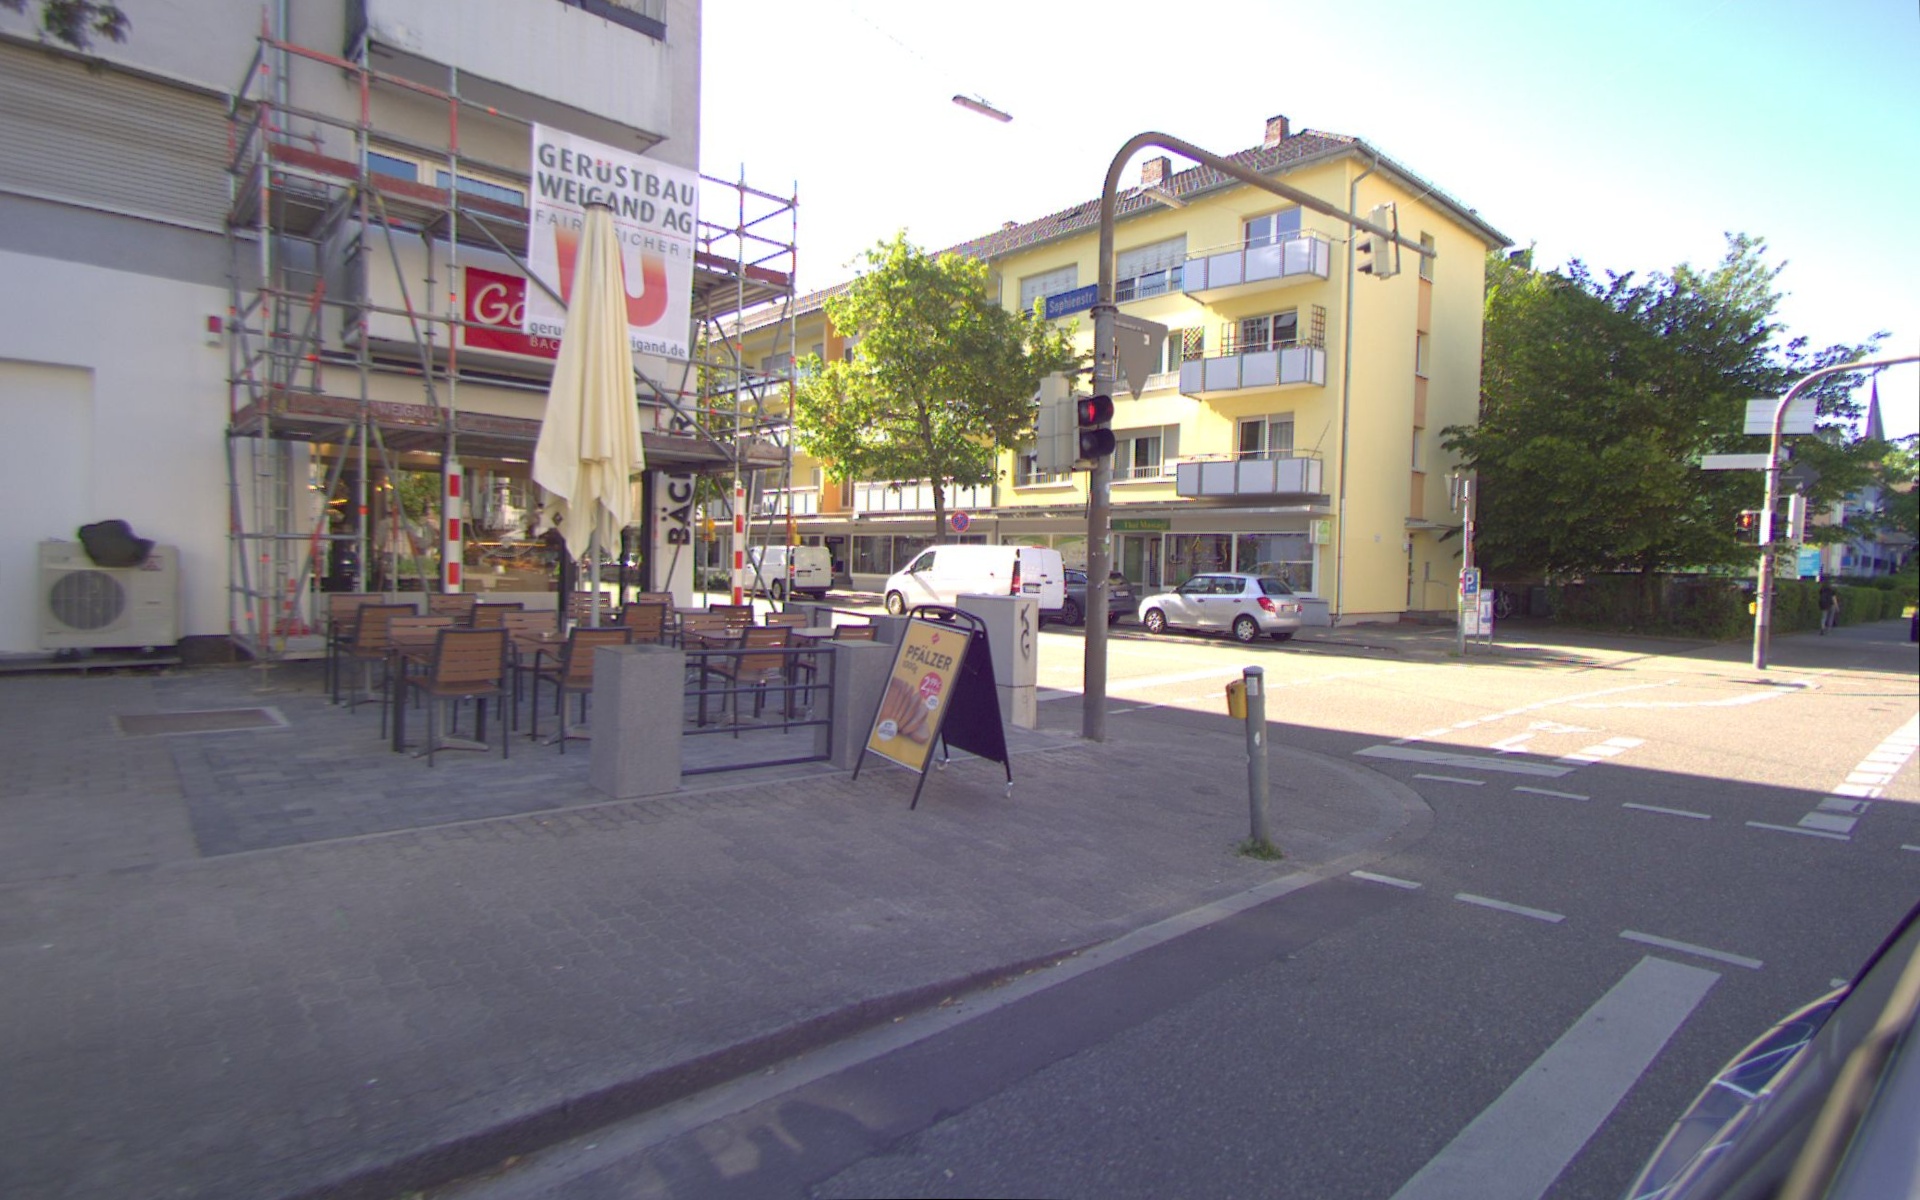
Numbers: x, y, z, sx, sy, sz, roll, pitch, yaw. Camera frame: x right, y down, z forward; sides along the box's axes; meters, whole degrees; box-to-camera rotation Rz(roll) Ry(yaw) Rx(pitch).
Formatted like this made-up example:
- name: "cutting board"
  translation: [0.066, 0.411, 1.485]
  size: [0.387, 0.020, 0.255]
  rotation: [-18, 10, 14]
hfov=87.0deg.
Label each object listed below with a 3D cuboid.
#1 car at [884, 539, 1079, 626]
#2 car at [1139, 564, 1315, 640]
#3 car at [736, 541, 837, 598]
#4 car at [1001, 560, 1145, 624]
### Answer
- name: "car"
  translation: [0.407, -0.477, 24.749]
  size: [1.833, 1.883, 4.958]
  rotation: [2, 2, -42]
- name: "car"
  translation: [5.984, -0.009, 22.980]
  size: [1.455, 1.500, 3.643]
  rotation: [0, 3, -41]
- name: "car"
  translation: [-6.304, -1.133, 36.380]
  size: [1.801, 1.870, 4.176]
  rotation: [0, 3, -38]
- name: "car"
  translation: [2.899, -0.258, 26.492]
  size: [1.552, 1.500, 3.643]
  rotation: [-1, 3, -41]
